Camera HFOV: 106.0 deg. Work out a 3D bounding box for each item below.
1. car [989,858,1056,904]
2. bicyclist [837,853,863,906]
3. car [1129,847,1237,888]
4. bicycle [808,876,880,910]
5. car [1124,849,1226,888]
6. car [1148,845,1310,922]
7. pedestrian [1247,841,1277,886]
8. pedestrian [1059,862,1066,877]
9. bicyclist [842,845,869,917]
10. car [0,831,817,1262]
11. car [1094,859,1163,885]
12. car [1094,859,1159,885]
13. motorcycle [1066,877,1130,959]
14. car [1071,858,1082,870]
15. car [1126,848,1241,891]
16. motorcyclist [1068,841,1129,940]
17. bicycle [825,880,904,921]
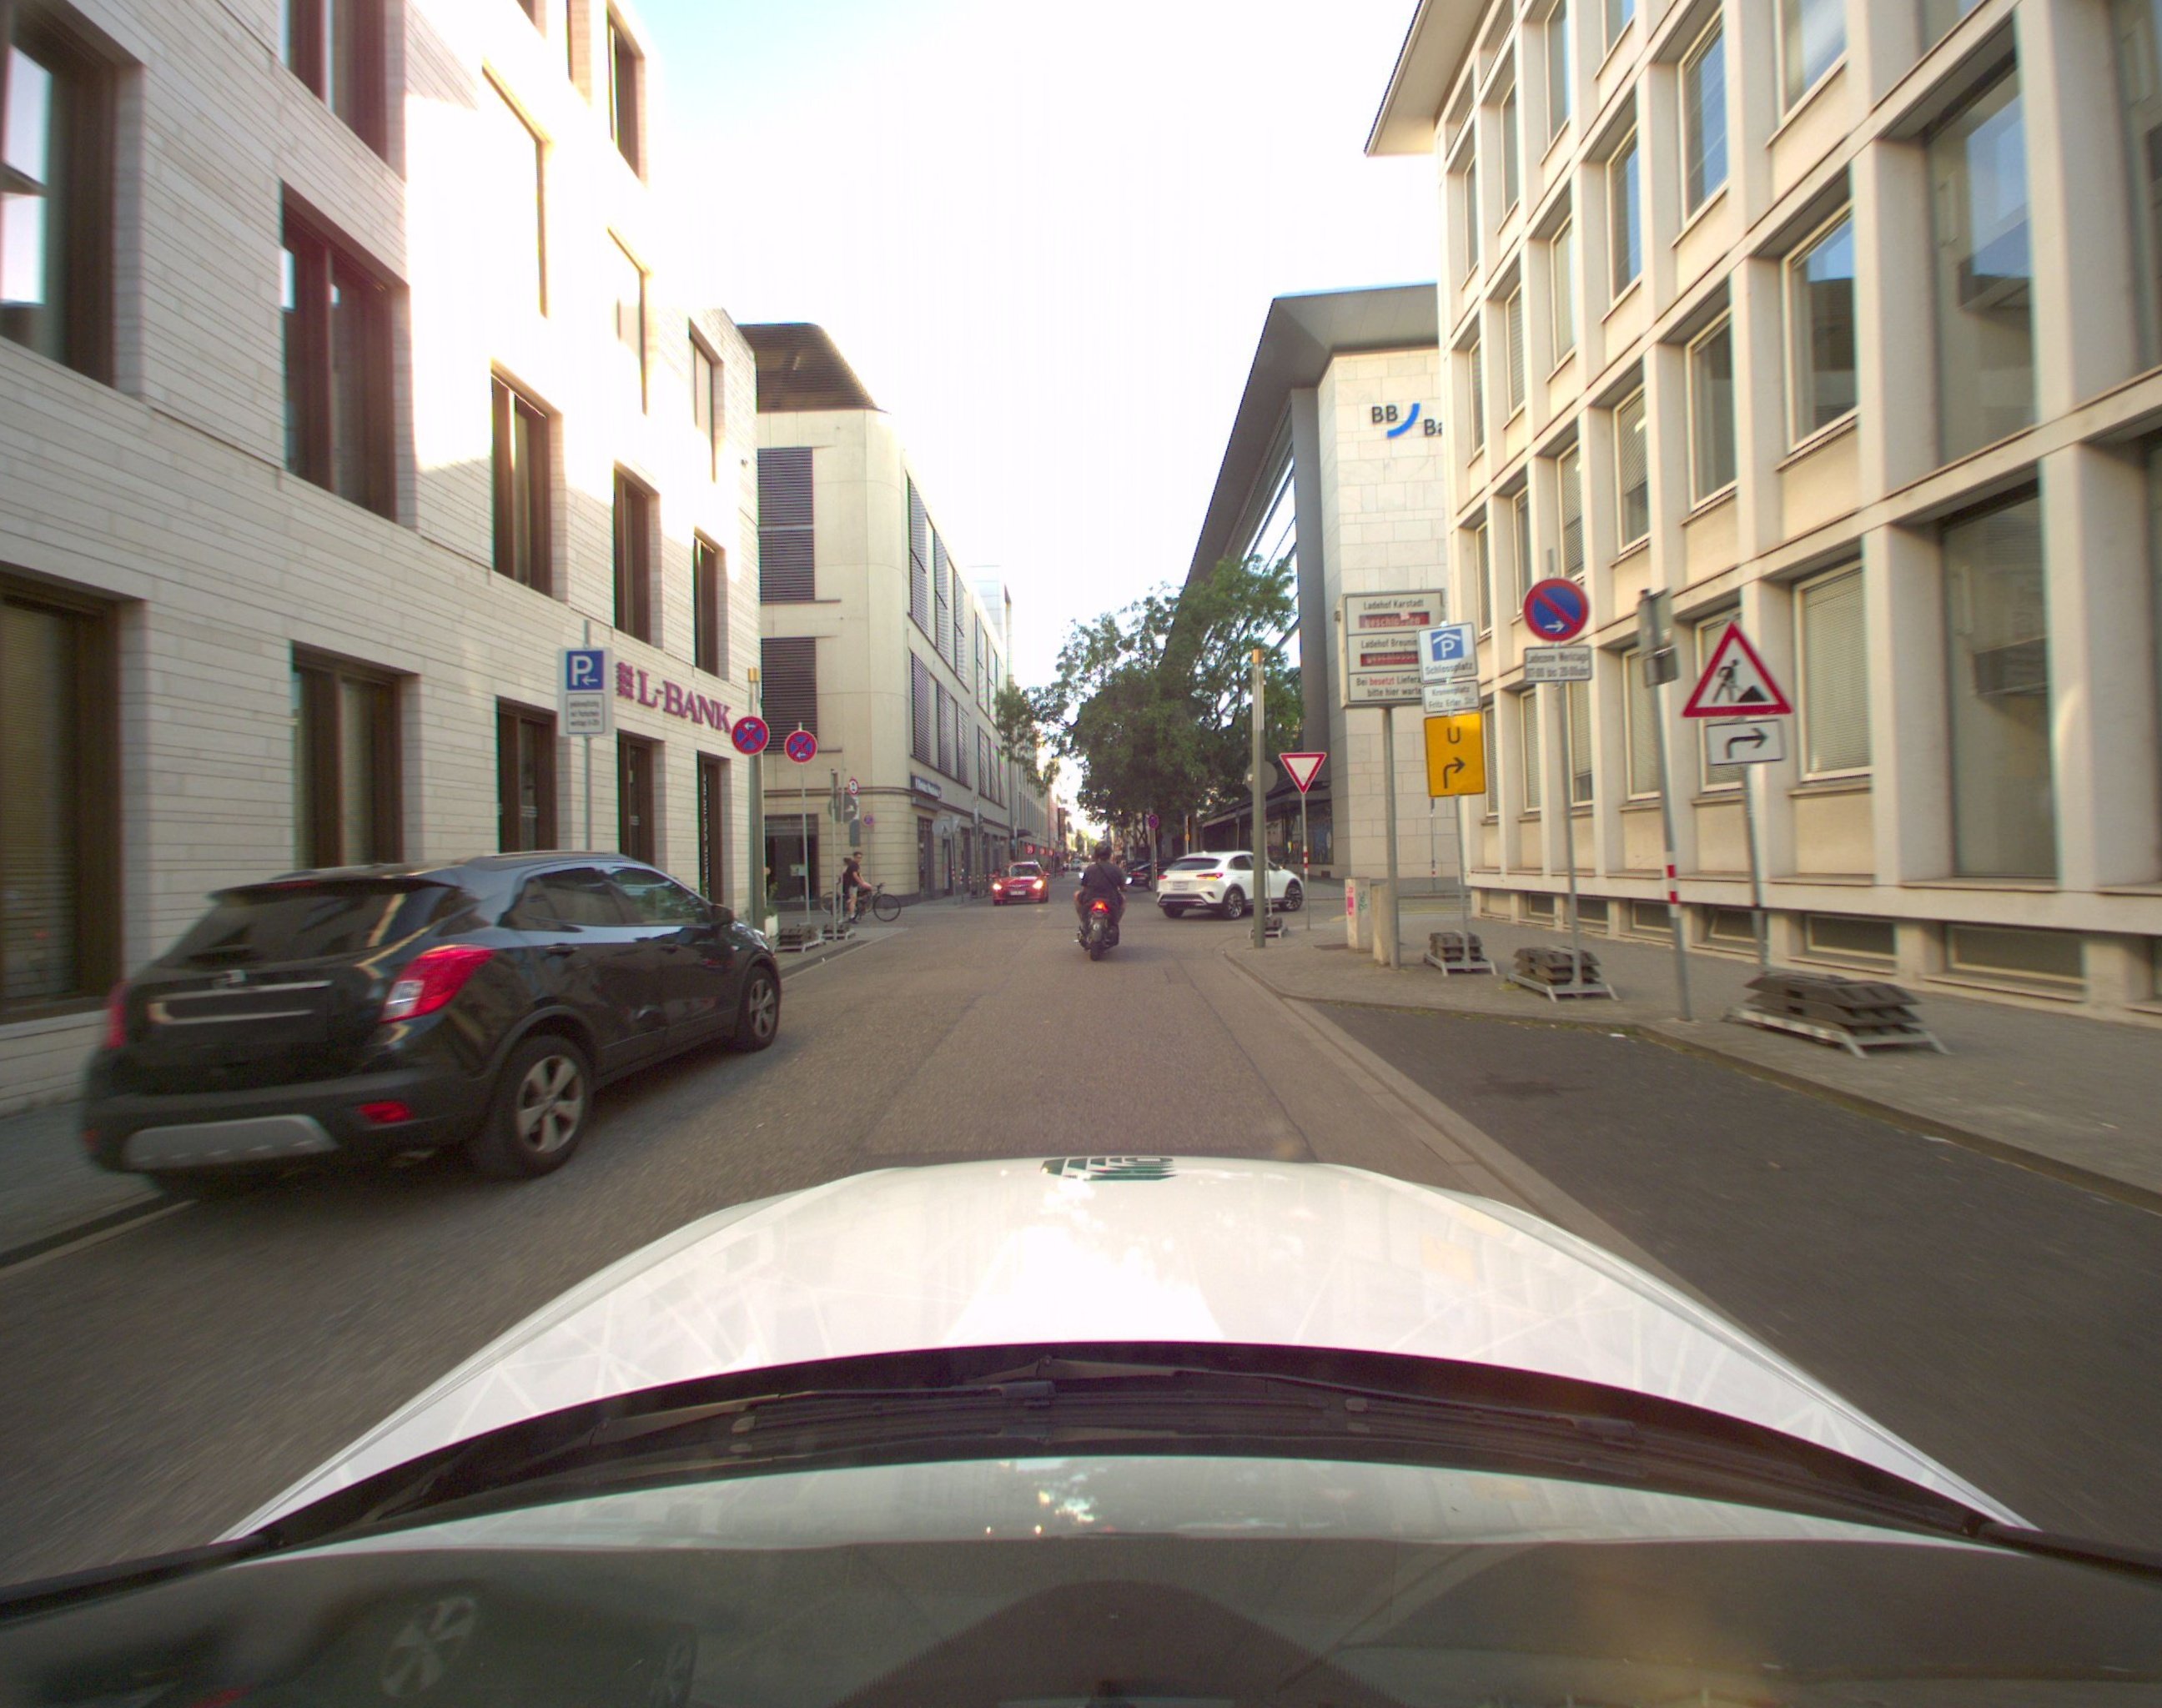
[{"bbox_3d":[-2.003,0.966,29.081,1.814,1.465,4.267,-2,-2,3],"label":"car"},{"bbox_3d":[-7.216,0.800,25.419,0.626,1.625,0.499,-1,-1,6],"label":"bicyclist"},{"bbox_3d":[4.993,0.662,40.345,4.991,1.499,1.999,-5,-1,-2],"label":"car"},{"bbox_3d":[-7.392,1.212,25.444,2.091,0.995,0.519,-1,-1,6],"label":"bicycle"},{"bbox_3d":[4.876,0.755,42.790,4.991,1.499,1.999,-5,-1,-2],"label":"car"},{"bbox_3d":[3.604,0.620,19.253,1.805,1.541,4.290,-2,0,41],"label":"car"},{"bbox_3d":[7.174,0.390,32.238,0.902,1.706,0.835,-5,-1,2],"label":"pedestrian"},{"bbox_3d":[-2.080,1.725,91.163,0.729,1.574,0.636,-1,-1,2],"label":"pedestrian"},{"bbox_3d":[-5.556,0.664,20.093,0.549,1.732,0.500,-1,-1,-7],"label":"bicyclist"},{"bbox_3d":[-3.523,0.791,5.495,1.815,1.677,4.267,-4,0,3],"label":"car"},{"bbox_3d":[3.584,1.386,62.274,4.991,1.499,1.999,-5,-1,-2],"label":"car"},{"bbox_3d":[3.580,1.431,64.798,4.991,1.499,1.999,-5,-1,-2],"label":"car"},{"bbox_3d":[0.274,0.908,12.200,0.869,1.109,1.840,-1,-1,2],"label":"motorcycle"},{"bbox_3d":[-0.805,1.844,150.515,1.988,2.329,5.018,0,0,-1],"label":"car"},{"bbox_3d":[4.705,0.723,37.857,4.991,1.451,1.999,-5,-1,-2],"label":"car"},{"bbox_3d":[0.261,0.540,12.122,0.863,1.427,0.456,-1,-1,2],"label":"motorcyclist"},{"bbox_3d":[-5.321,1.139,20.111,1.813,0.974,0.510,-1,-1,-8],"label":"bicycle"}]
